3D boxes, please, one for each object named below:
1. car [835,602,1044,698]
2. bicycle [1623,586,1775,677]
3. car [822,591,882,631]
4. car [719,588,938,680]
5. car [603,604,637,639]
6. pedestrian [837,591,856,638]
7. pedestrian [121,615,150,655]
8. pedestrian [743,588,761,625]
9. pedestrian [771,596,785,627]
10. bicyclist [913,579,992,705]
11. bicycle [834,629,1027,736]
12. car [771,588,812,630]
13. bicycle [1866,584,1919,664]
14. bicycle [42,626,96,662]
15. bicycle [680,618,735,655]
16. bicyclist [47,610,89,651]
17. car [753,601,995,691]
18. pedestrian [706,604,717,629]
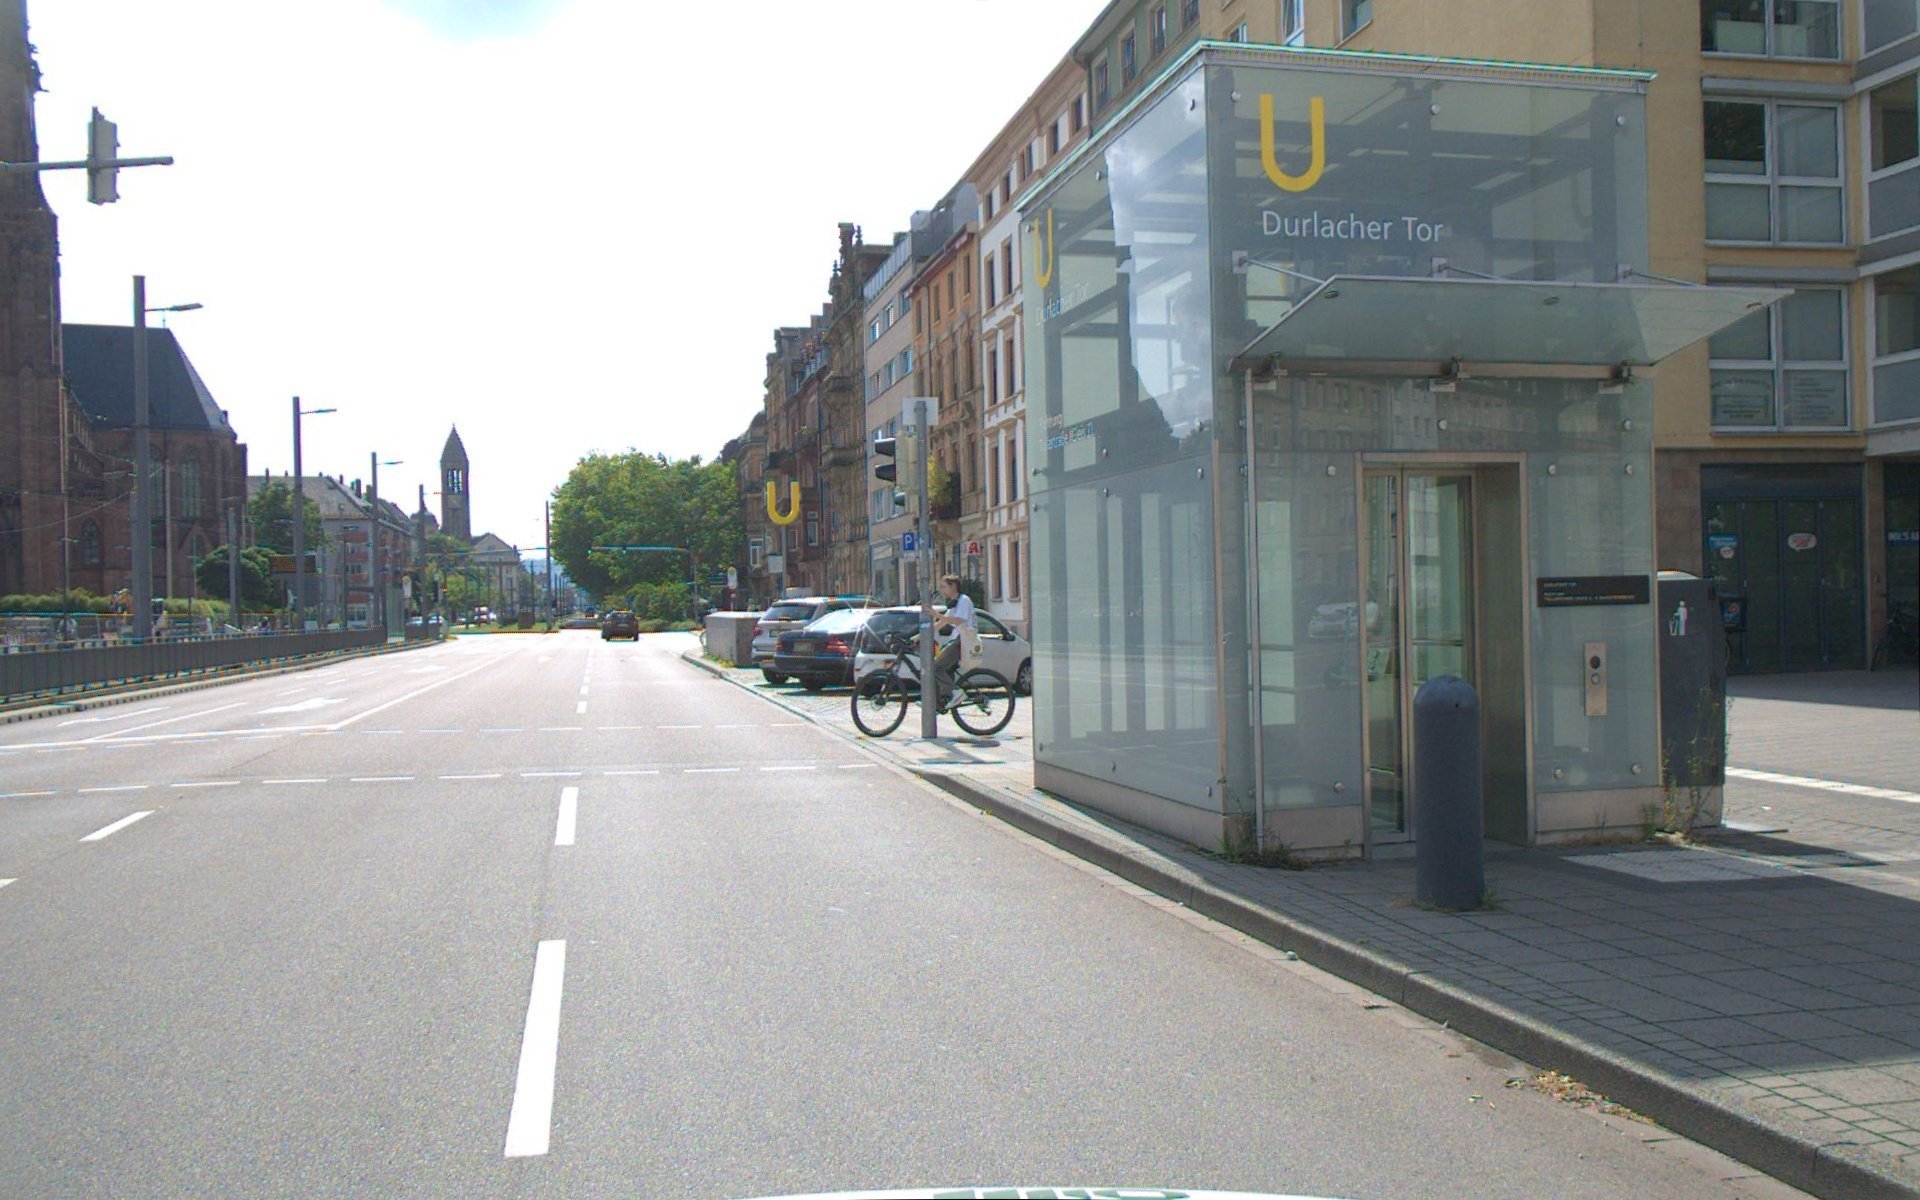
[{"bbox_3d":[-0.289,0.798,27.526,1.744,1.479,3.482,-2,-1,36],"label":"car"},{"bbox_3d":[10.634,0.439,23.795,2.152,1.223,0.476,-2,2,-14],"label":"bicycle"},{"bbox_3d":[-5.541,0.581,84.340,1.963,1.894,4.728,-2,-1,-18],"label":"car"},{"bbox_3d":[-2.593,0.645,33.729,2.019,1.676,4.581,-2,0,35],"label":"car"},{"bbox_3d":[-19.058,1.180,92.598,1.660,1.741,3.596,-1,2,-14],"label":"car"},{"bbox_3d":[-5.284,0.666,76.936,0.708,2.135,0.784,-1,2,-12],"label":"pedestrian"},{"bbox_3d":[-43.167,1.833,86.592,1.046,2.049,1.048,-2,0,-9],"label":"pedestrian"},{"bbox_3d":[-11.164,0.345,88.855,0.656,1.936,0.687,-2,-1,-31],"label":"pedestrian"},{"bbox_3d":[-11.183,0.683,101.461,0.653,1.868,0.691,-2,0,-19],"label":"pedestrian"},{"bbox_3d":[-0.082,0.454,18.235,0.765,1.359,0.395,-1,2,15],"label":"bicyclist"},{"bbox_3d":[-0.327,0.900,18.316,2.049,1.125,0.545,-1,2,14],"label":"bicycle"},{"bbox_3d":[-10.858,0.582,106.186,1.959,2.569,5.870,-1,0,-12],"label":"car"},{"bbox_3d":[14.395,0.345,24.835,1.318,1.149,0.593,-1,2,-10],"label":"bicycle"},{"bbox_3d":[-38.686,1.880,71.887,1.173,1.452,3.679,-2,0,-14],"label":"bicycle"},{"bbox_3d":[-9.180,1.320,60.114,1.900,1.259,0.437,-2,2,-26],"label":"bicycle"},{"bbox_3d":[-38.647,1.301,71.662,1.158,1.713,1.678,-2,0,-14],"label":"bicyclist"},{"bbox_3d":[-1.485,0.785,30.140,1.901,1.486,4.580,-1,0,37],"label":"car"},{"bbox_3d":[-20.173,1.348,134.256,0.754,2.049,0.713,-2,0,-12],"label":"pedestrian"}]
